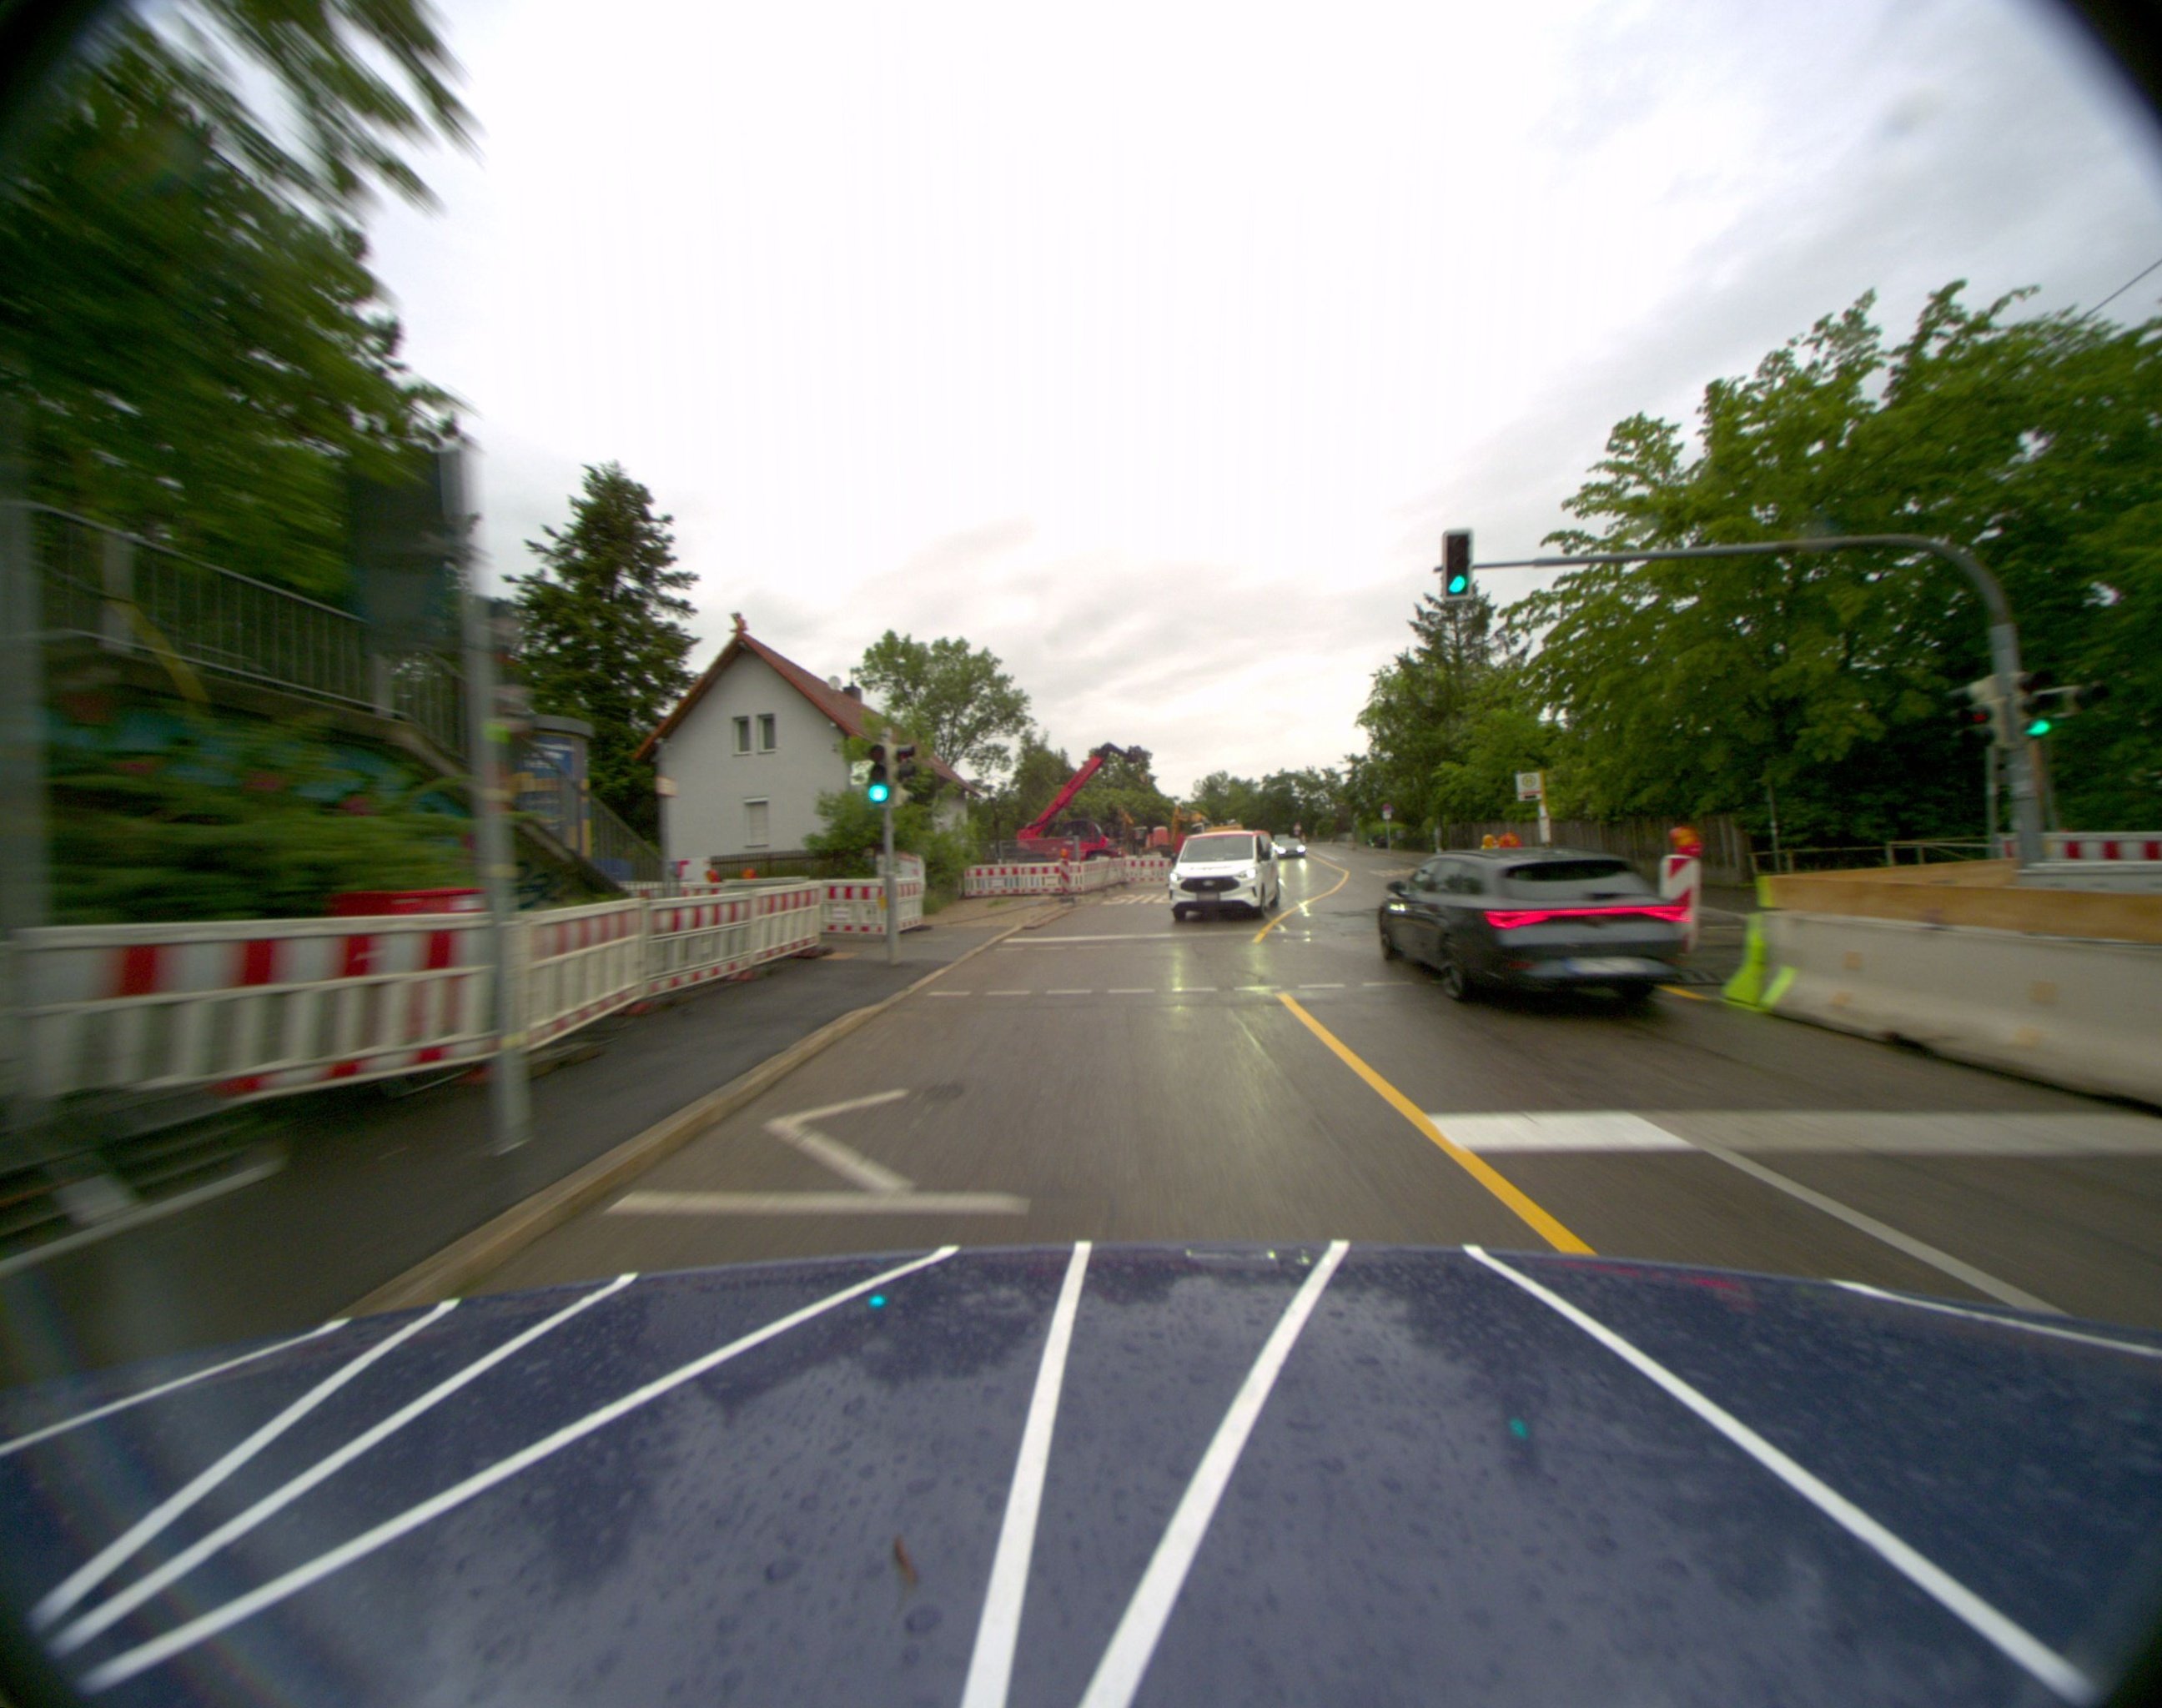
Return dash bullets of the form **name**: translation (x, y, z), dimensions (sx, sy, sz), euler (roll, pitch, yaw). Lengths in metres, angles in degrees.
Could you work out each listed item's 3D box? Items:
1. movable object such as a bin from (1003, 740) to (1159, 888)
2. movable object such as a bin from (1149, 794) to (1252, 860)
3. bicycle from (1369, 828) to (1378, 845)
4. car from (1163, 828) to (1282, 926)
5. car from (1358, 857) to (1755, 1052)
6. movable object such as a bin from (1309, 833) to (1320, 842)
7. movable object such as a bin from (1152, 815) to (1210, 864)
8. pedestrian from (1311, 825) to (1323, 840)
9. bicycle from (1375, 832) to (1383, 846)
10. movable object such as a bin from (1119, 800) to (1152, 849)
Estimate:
- **movable object such as a bin**: translation (0.123, -1.912, 38.082), dimensions (6.962, 6.651, 3.047), euler (-4, 1, 9)
- **movable object such as a bin**: translation (9.767, -2.245, 63.993), dimensions (3.070, 4.892, 10.796), euler (-6, 4, -23)
- **bicycle**: translation (24.883, -1.485, 64.725), dimensions (0.421, 1.342, 1.743), euler (-4, 2, 13)
- **car**: translation (3.526, 0.455, 18.083), dimensions (1.995, 2.002, 4.956), euler (0, 0, 20)
- **car**: translation (4.442, 0.800, 8.039), dimensions (1.787, 1.395, 4.367), euler (-3, 0, 6)
- **movable object such as a bin**: translation (29.993, -2.090, 97.532), dimensions (0.989, 1.100, 1.027), euler (-2, -1, -6)
- **movable object such as a bin**: translation (7.512, -1.081, 57.454), dimensions (3.996, 3.182, 2.410), euler (-5, -5, 4)
- **pedestrian**: translation (28.835, -2.581, 93.009), dimensions (0.926, 1.757, 0.979), euler (-3, 0, -16)
- **bicycle**: translation (24.151, -1.244, 61.516), dimensions (0.338, 1.101, 1.257), euler (-4, 2, 13)
- **movable object such as a bin**: translation (4.659, -2.475, 64.744), dimensions (1.997, 3.866, 4.620), euler (-4, 1, 11)
